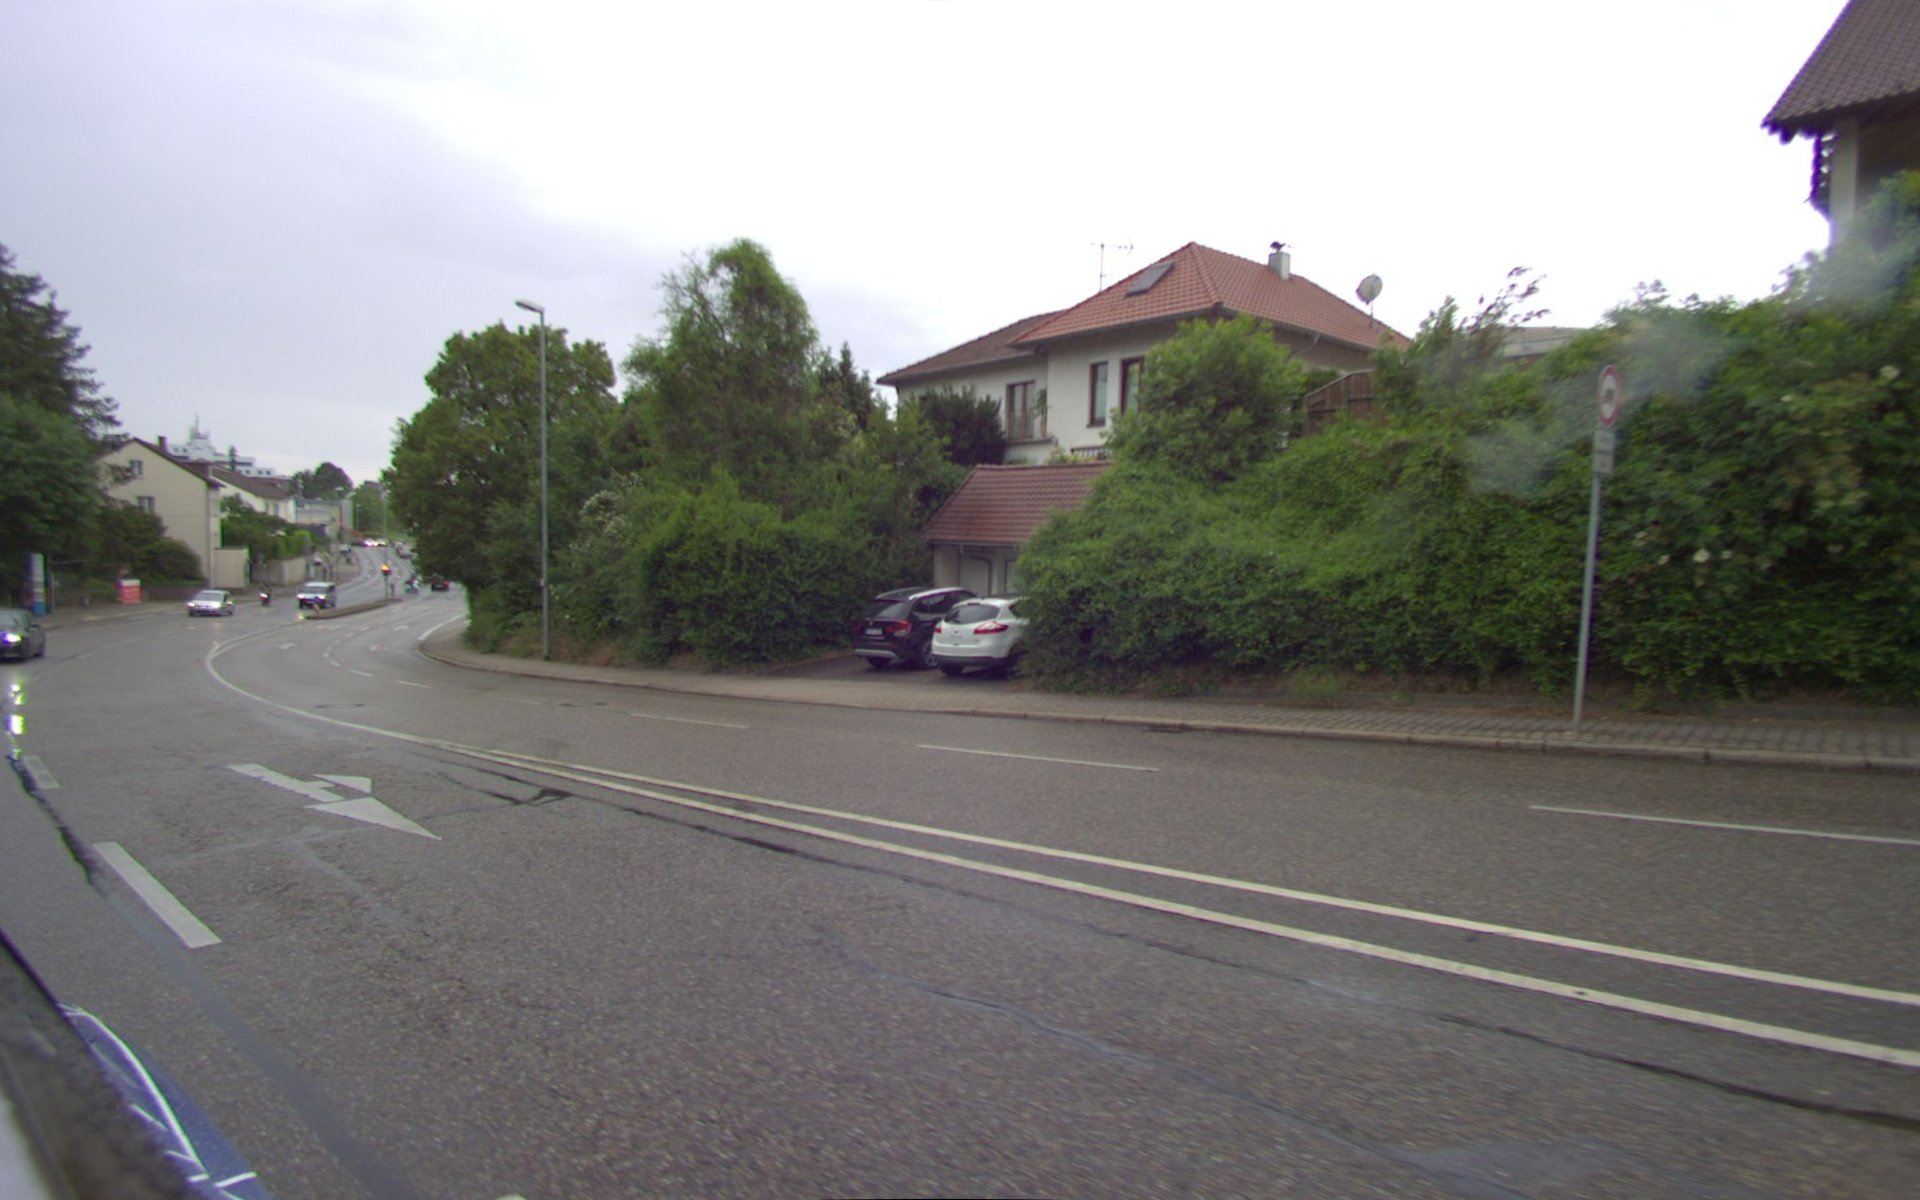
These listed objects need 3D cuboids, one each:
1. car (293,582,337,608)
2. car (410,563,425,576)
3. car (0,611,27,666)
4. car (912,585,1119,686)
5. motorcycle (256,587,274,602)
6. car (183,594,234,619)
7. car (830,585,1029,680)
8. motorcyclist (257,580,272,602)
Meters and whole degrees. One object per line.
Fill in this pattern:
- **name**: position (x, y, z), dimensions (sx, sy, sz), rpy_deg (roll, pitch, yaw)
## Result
- **car**: position (-48.583, -0.347, 76.349), dimensions (1.748, 1.788, 4.012), rpy_deg (2, -2, -17)
- **car**: position (-85.846, -4.828, 160.123), dimensions (1.822, 1.798, 4.012), rpy_deg (0, 0, -31)
- **car**: position (-28.188, 1.084, 29.213), dimensions (1.845, 1.517, 4.202), rpy_deg (0, 0, -43)
- **car**: position (1.146, 0.601, 19.275), dimensions (1.811, 1.451, 3.859), rpy_deg (-1, 4, 43)
- **motorcycle**: position (-52.921, -0.405, 77.083), dimensions (0.681, 1.061, 1.753), rpy_deg (2, -1, -20)
- **car**: position (-46.957, 0.437, 63.320), dimensions (1.787, 1.450, 4.013), rpy_deg (2, -2, -26)
- **car**: position (-0.572, 0.622, 21.559), dimensions (2.000, 1.547, 3.946), rpy_deg (-2, 4, 42)
- **motorcyclist**: position (-52.869, -0.709, 76.973), dimensions (0.754, 1.655, 0.676), rpy_deg (1, -1, -20)
